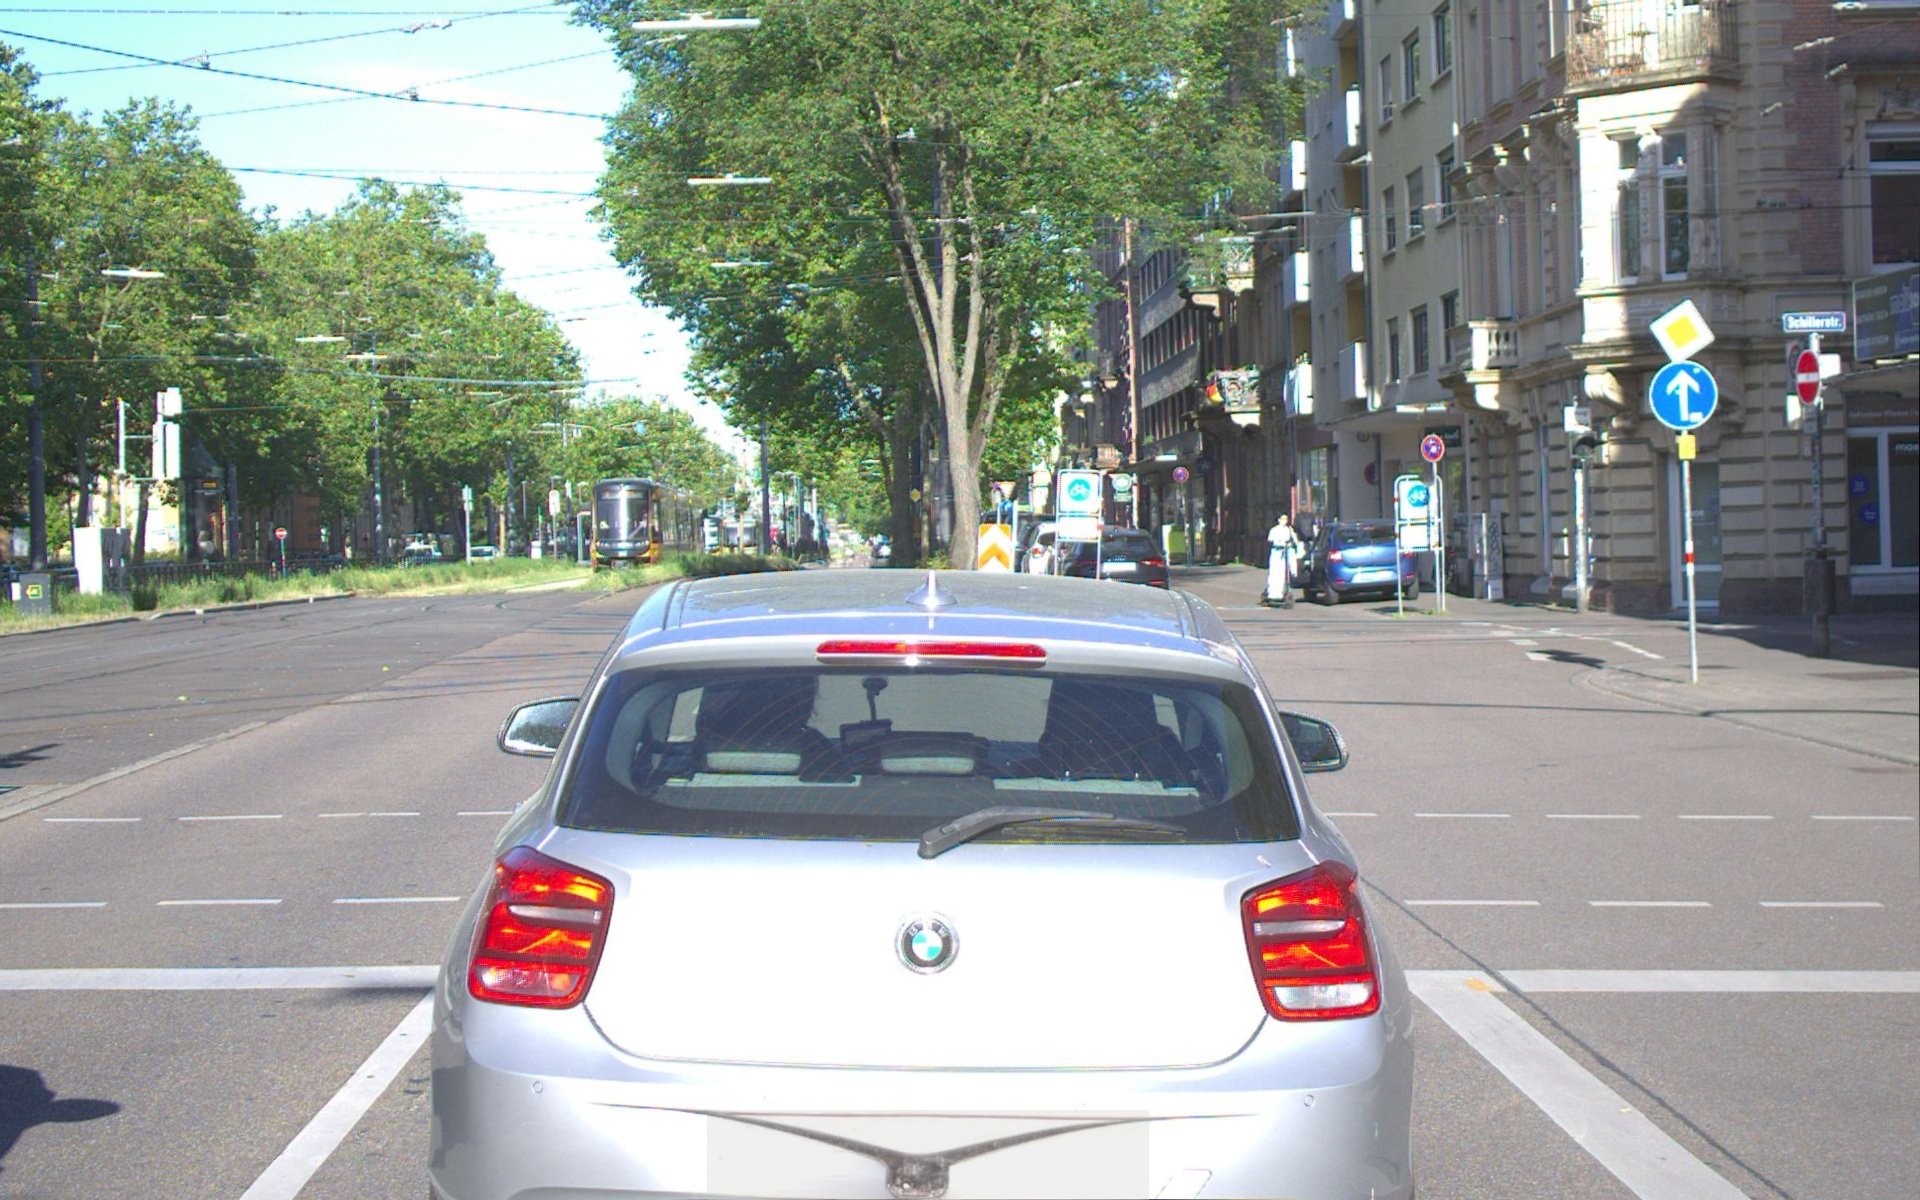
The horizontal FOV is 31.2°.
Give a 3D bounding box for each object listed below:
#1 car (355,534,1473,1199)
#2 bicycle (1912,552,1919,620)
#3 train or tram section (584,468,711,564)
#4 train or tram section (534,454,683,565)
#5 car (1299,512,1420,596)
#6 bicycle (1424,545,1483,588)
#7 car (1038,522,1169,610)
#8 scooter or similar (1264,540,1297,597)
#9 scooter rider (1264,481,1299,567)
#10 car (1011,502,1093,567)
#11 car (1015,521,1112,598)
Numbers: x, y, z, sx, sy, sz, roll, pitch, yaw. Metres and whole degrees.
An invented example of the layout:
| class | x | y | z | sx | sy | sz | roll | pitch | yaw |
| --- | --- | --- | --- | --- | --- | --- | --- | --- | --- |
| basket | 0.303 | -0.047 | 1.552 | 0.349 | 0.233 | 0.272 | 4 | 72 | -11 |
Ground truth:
| class | x | y | z | sx | sy | sz | roll | pitch | yaw |
| --- | --- | --- | --- | --- | --- | --- | --- | --- | --- |
| car | -0.101 | 0.609 | 7.389 | 1.740 | 1.462 | 4.000 | 1 | 1 | -1 |
| bicycle | 13.388 | -0.200 | 46.157 | 0.654 | 0.900 | 1.335 | 1 | 2 | 41 |
| train or tram section | -13.273 | -3.615 | 147.737 | 4.005 | 3.852 | 17.490 | -1 | 1 | -1 |
| train or tram section | -13.114 | -3.418 | 130.213 | 3.969 | 3.852 | 17.490 | -1 | 1 | -1 |
| car | 7.386 | -0.870 | 63.866 | 1.735 | 1.514 | 3.637 | 0 | 1 | -1 |
| bicycle | 9.214 | -0.633 | 64.238 | 0.754 | 0.768 | 1.945 | -1 | 1 | -2 |
| car | 2.387 | -0.595 | 58.094 | 1.735 | 1.428 | 3.679 | 0 | 1 | -5 |
| scooter or similar | 5.661 | -0.563 | 60.761 | 0.337 | 0.984 | 1.284 | -1 | 1 | -5 |
| scooter rider | 5.678 | -1.347 | 60.700 | 0.465 | 1.500 | 0.811 | -1 | 1 | -5 |
| car | 2.178 | -1.577 | 82.069 | 1.724 | 1.501 | 3.555 | 0 | 1 | -2 |
| car | 2.072 | -0.843 | 69.482 | 1.724 | 1.501 | 3.555 | 0 | 1 | -2 |
